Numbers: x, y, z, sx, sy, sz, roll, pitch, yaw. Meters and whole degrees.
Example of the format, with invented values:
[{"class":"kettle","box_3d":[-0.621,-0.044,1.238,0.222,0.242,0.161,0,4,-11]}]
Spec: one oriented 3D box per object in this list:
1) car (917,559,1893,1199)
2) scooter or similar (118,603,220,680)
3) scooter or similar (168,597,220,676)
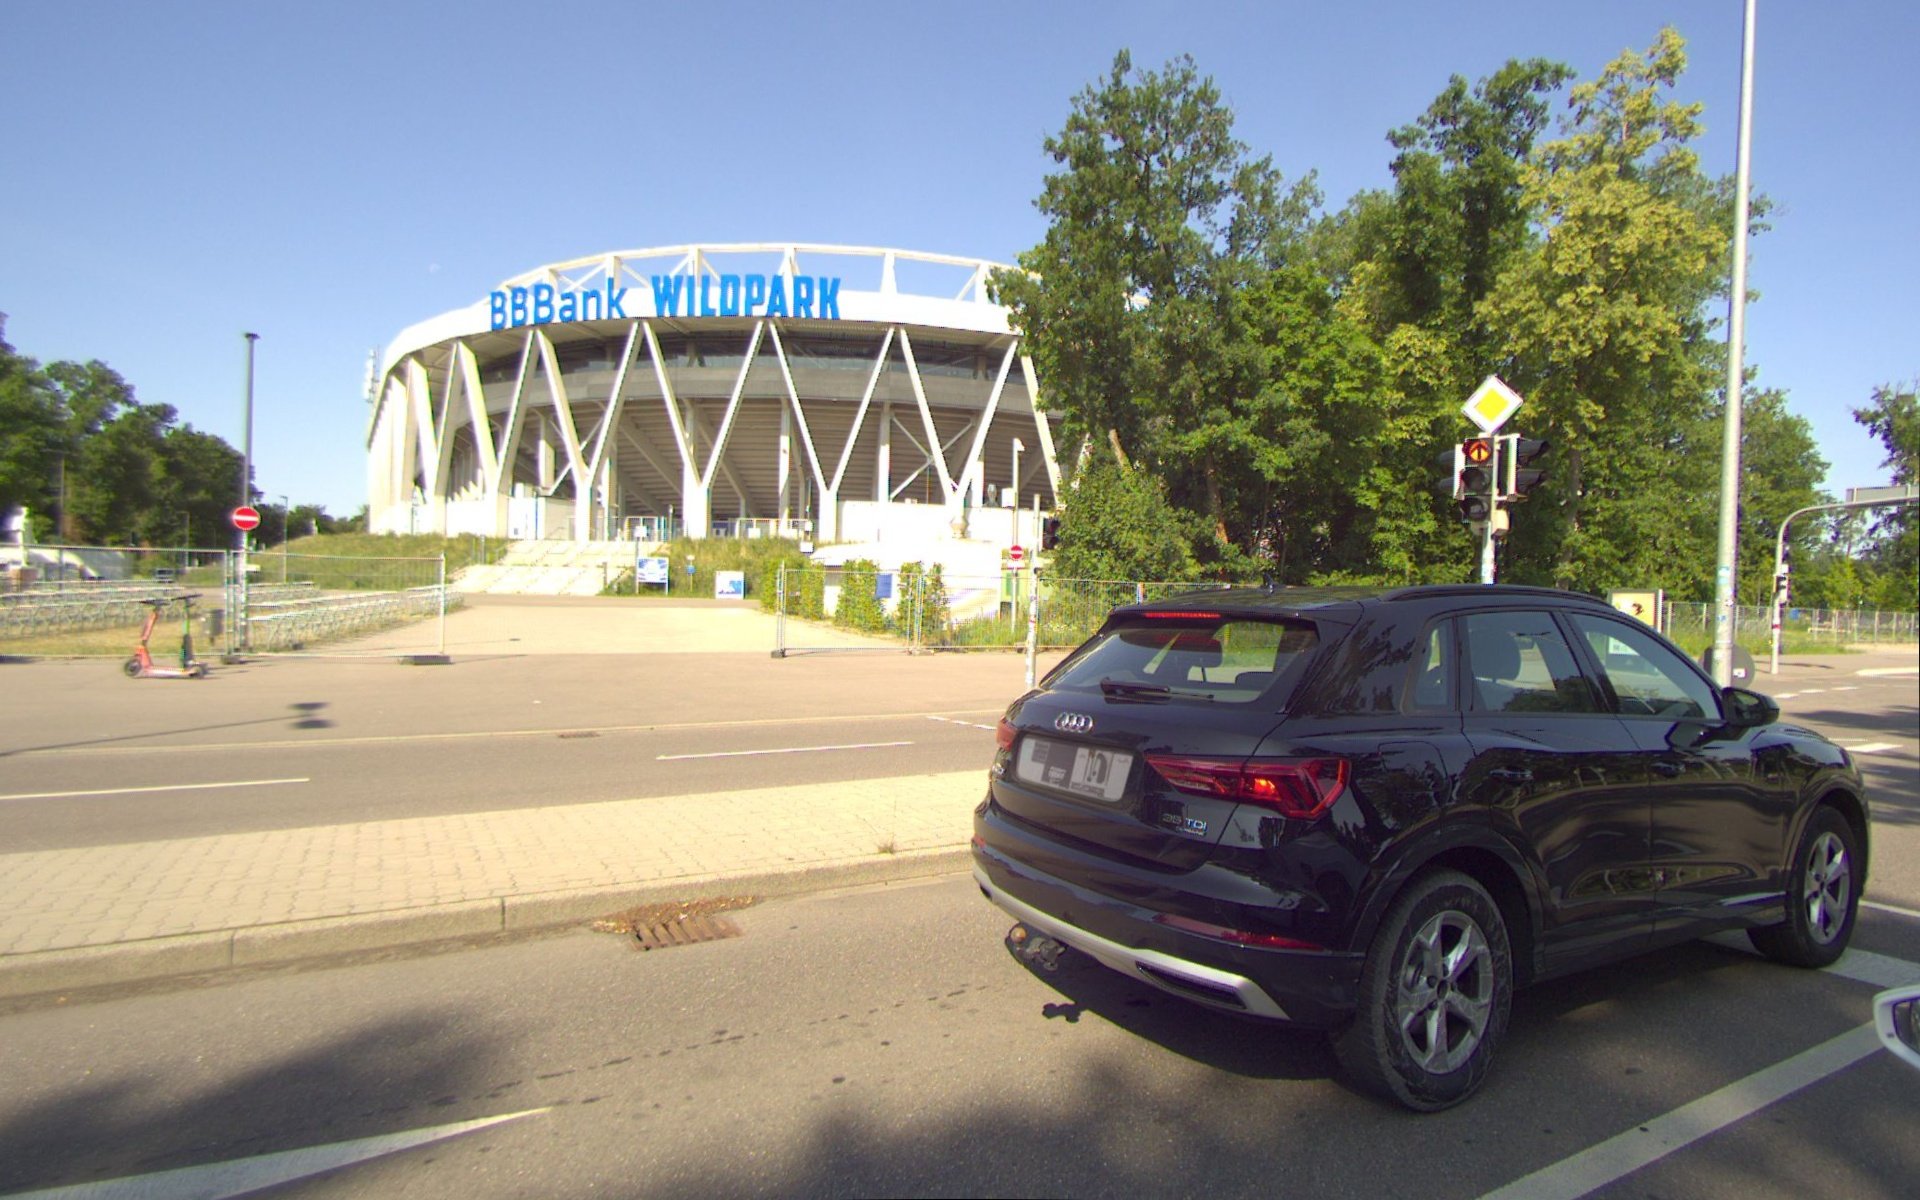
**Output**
[{"class":"car","box_3d":[2.019,0.722,4.216,4.100,1.565,1.680,1,-1,-30]},{"class":"scooter or similar","box_3d":[-12.324,0.643,15.681,1.180,1.161,0.393,1,1,-25]},{"class":"scooter or similar","box_3d":[-12.585,0.581,16.495,1.064,1.238,0.395,2,1,36]}]
